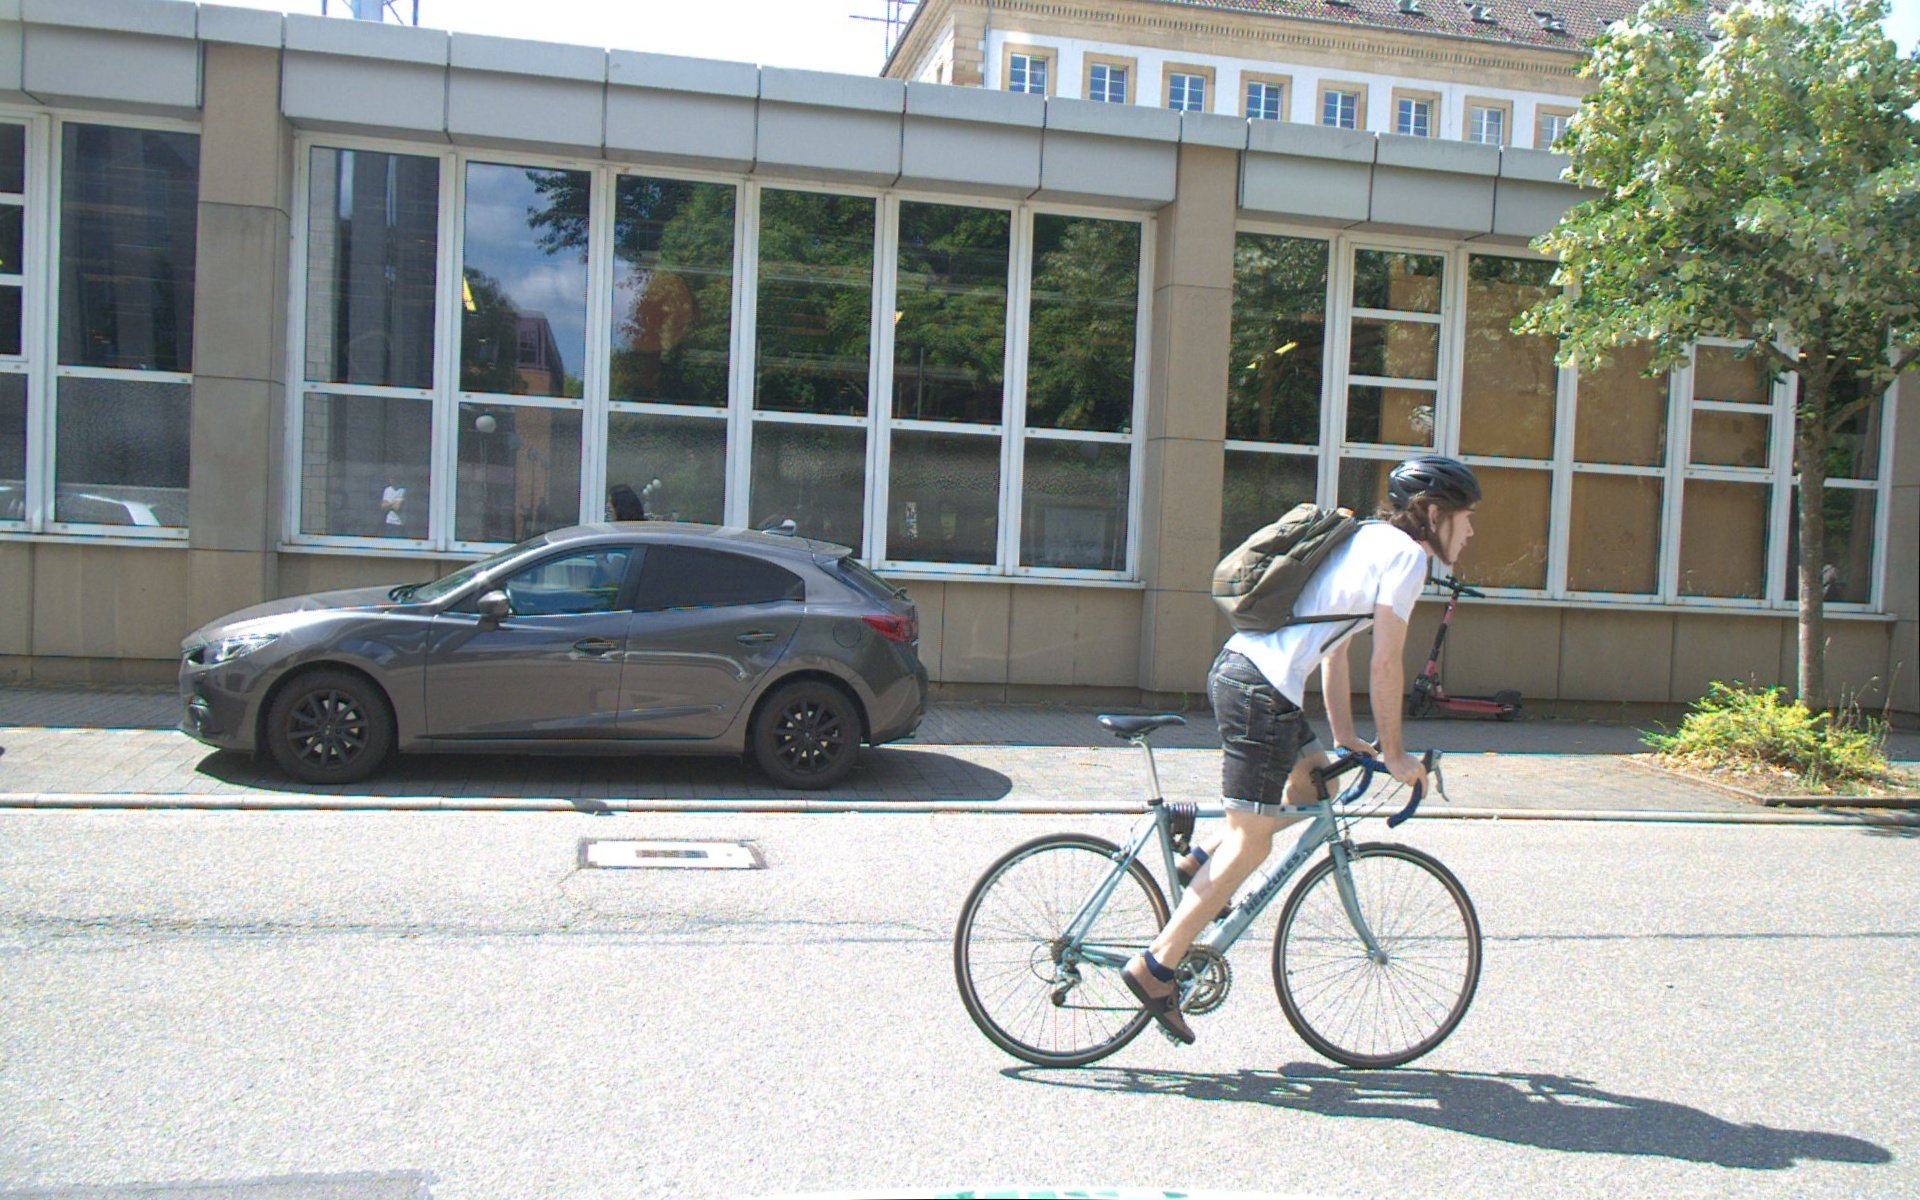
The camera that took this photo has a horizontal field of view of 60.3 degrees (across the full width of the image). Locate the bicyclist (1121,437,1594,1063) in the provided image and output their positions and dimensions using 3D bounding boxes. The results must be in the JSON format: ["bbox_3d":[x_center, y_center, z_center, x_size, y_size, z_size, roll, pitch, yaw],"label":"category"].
[{"bbox_3d":[1.119,0.402,4.861,1.071,1.690,0.719,2,4,-8],"label":"bicyclist"}]

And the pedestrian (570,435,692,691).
[{"bbox_3d":[-2.352,-0.265,11.807,0.781,1.758,0.600,2,2,-13],"label":"pedestrian"}]

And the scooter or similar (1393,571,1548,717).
[{"bbox_3d":[4.469,0.389,14.491,1.220,1.227,0.383,1,4,-13],"label":"scooter or similar"}]

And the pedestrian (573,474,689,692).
[{"bbox_3d":[-2.475,-0.134,12.430,0.781,1.568,0.662,2,2,-13],"label":"pedestrian"}]

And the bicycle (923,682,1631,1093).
[{"bbox_3d":[0.875,0.821,4.856,1.868,1.010,0.708,2,4,-8],"label":"bicycle"}]

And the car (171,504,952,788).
[{"bbox_3d":[-2.295,0.236,10.045,4.201,1.459,1.726,1,4,-13],"label":"car"}]
